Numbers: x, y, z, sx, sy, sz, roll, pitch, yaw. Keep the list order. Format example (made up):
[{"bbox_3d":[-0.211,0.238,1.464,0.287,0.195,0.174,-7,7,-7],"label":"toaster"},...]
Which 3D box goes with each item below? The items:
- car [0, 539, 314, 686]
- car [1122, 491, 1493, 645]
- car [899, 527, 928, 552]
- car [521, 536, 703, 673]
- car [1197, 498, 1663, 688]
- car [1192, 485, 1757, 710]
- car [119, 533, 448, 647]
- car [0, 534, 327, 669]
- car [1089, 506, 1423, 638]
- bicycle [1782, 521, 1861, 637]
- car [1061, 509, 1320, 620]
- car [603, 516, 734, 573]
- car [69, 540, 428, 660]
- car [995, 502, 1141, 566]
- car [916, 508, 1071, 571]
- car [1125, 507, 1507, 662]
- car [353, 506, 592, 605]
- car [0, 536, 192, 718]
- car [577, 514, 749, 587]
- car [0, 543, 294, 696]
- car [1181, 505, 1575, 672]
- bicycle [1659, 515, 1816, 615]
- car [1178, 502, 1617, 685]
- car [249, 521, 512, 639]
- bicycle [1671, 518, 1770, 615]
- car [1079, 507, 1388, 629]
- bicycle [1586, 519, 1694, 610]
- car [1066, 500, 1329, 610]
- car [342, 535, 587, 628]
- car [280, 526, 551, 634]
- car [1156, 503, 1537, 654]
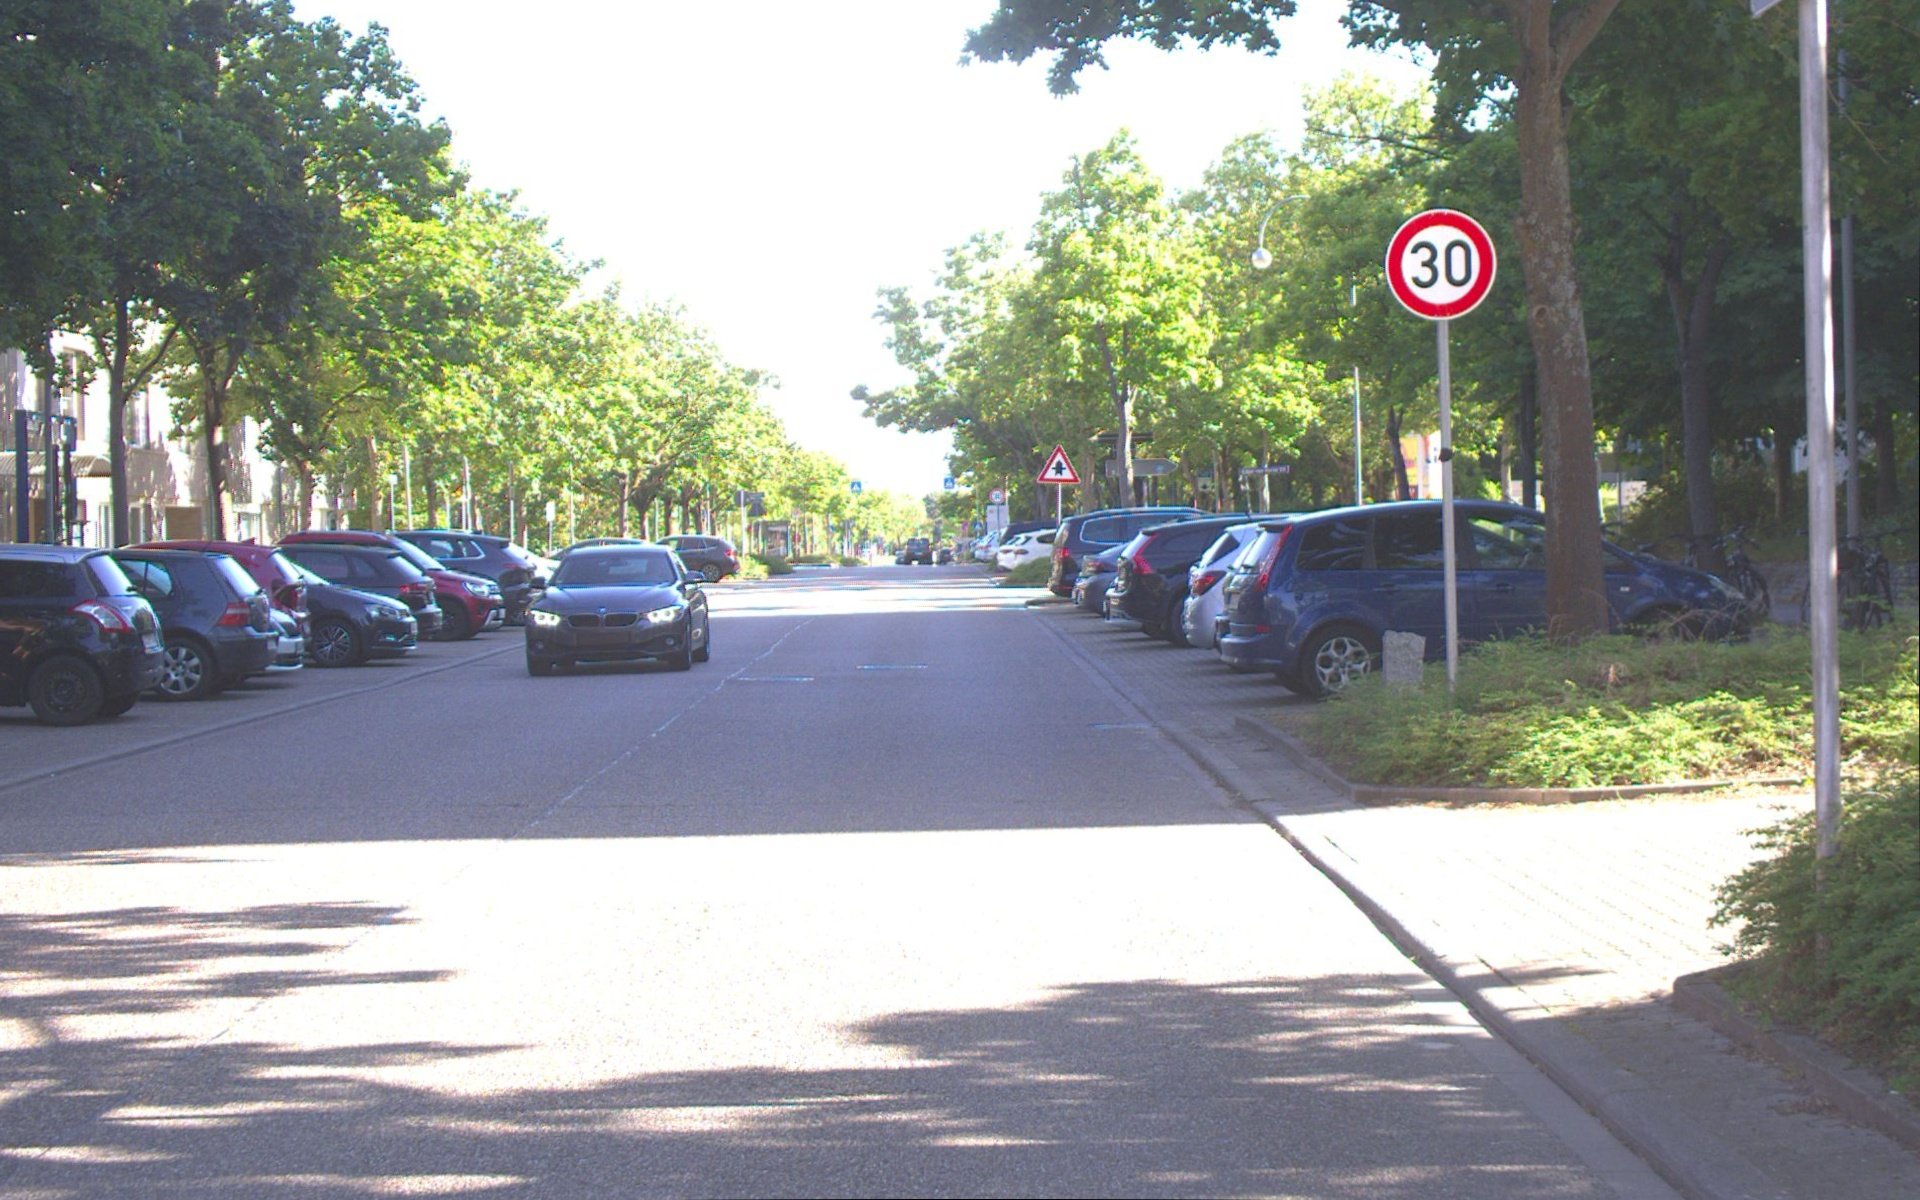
[{"bbox_3d":[-8.824,0.116,35.966,3.865,1.452,1.755,0,3,-3],"label":"car"},{"bbox_3d":[4.141,-0.399,41.324,4.249,1.549,1.920,-4,1,4],"label":"car"},{"bbox_3d":[-3.152,-4.128,234.485,1.933,1.592,4.367,-2,1,-1],"label":"car"},{"bbox_3d":[-3.895,0.007,39.041,1.813,1.410,4.108,-1,2,-3],"label":"car"},{"bbox_3d":[4.176,-0.084,31.007,3.882,1.521,1.895,-2,1,0],"label":"car"},{"bbox_3d":[4.169,-0.044,28.311,4.267,1.628,1.858,-2,1,-3],"label":"car"},{"bbox_3d":[-8.574,-0.136,43.807,3.986,1.401,1.606,0,1,-6],"label":"car"},{"bbox_3d":[-8.938,0.001,38.708,3.418,1.458,1.697,0,2,-5],"label":"car"},{"bbox_3d":[3.819,-0.377,44.633,4.043,1.585,1.550,-2,1,-7],"label":"car"},{"bbox_3d":[8.156,-0.212,32.591,0.379,1.043,1.884,-3,1,5],"label":"bicycle"},{"bbox_3d":[3.719,-0.592,55.847,3.892,1.650,1.858,-2,1,-5],"label":"car"},{"bbox_3d":[-9.329,-1.774,110.139,3.987,1.678,2.000,-2,1,0],"label":"car"},{"bbox_3d":[-8.475,-0.009,41.188,3.986,1.408,1.666,0,1,-2],"label":"car"},{"bbox_3d":[3.119,-1.924,100.052,3.986,1.786,2.000,-1,1,-5],"label":"car"},{"bbox_3d":[0.894,-1.647,93.607,3.986,1.619,2.000,-1,1,-5],"label":"car"},{"bbox_3d":[3.756,-0.182,36.738,3.752,1.444,1.880,-3,1,-3],"label":"car"},{"bbox_3d":[-8.861,-0.827,62.712,3.987,1.648,1.860,-2,1,2],"label":"car"},{"bbox_3d":[-8.508,0.233,28.855,3.732,1.459,1.677,-1,1,-1],"label":"car"},{"bbox_3d":[-7.323,-1.243,85.116,3.987,1.648,1.860,-2,1,2],"label":"car"},{"bbox_3d":[-8.532,0.174,33.517,3.762,1.440,1.631,0,1,0],"label":"car"},{"bbox_3d":[4.117,-0.127,34.235,3.635,1.462,1.633,-3,1,-1],"label":"car"},{"bbox_3d":[8.569,-0.385,37.937,0.379,1.074,1.786,-2,2,-42],"label":"bicycle"},{"bbox_3d":[3.950,-0.076,31.535,3.740,1.462,1.911,-3,1,1],"label":"car"},{"bbox_3d":[-8.574,-0.310,51.061,3.541,1.651,1.761,-1,1,1],"label":"car"},{"bbox_3d":[8.666,-0.389,39.226,0.379,1.074,1.788,-2,1,-12],"label":"bicycle"},{"bbox_3d":[3.770,-0.451,47.724,4.043,1.486,1.550,-3,1,-3],"label":"car"},{"bbox_3d":[8.279,-0.439,41.931,0.379,1.074,1.788,-2,1,-21],"label":"bicycle"},{"bbox_3d":[3.837,-0.742,55.950,4.043,1.576,1.641,-3,1,-3],"label":"car"},{"bbox_3d":[-8.359,-0.331,58.255,3.892,1.459,1.858,-1,1,-1],"label":"car"},{"bbox_3d":[-8.723,-0.319,55.249,3.987,1.581,1.765,-2,0,3],"label":"car"},{"bbox_3d":[4.162,-0.248,37.479,3.866,1.463,1.967,-2,1,0],"label":"car"}]
